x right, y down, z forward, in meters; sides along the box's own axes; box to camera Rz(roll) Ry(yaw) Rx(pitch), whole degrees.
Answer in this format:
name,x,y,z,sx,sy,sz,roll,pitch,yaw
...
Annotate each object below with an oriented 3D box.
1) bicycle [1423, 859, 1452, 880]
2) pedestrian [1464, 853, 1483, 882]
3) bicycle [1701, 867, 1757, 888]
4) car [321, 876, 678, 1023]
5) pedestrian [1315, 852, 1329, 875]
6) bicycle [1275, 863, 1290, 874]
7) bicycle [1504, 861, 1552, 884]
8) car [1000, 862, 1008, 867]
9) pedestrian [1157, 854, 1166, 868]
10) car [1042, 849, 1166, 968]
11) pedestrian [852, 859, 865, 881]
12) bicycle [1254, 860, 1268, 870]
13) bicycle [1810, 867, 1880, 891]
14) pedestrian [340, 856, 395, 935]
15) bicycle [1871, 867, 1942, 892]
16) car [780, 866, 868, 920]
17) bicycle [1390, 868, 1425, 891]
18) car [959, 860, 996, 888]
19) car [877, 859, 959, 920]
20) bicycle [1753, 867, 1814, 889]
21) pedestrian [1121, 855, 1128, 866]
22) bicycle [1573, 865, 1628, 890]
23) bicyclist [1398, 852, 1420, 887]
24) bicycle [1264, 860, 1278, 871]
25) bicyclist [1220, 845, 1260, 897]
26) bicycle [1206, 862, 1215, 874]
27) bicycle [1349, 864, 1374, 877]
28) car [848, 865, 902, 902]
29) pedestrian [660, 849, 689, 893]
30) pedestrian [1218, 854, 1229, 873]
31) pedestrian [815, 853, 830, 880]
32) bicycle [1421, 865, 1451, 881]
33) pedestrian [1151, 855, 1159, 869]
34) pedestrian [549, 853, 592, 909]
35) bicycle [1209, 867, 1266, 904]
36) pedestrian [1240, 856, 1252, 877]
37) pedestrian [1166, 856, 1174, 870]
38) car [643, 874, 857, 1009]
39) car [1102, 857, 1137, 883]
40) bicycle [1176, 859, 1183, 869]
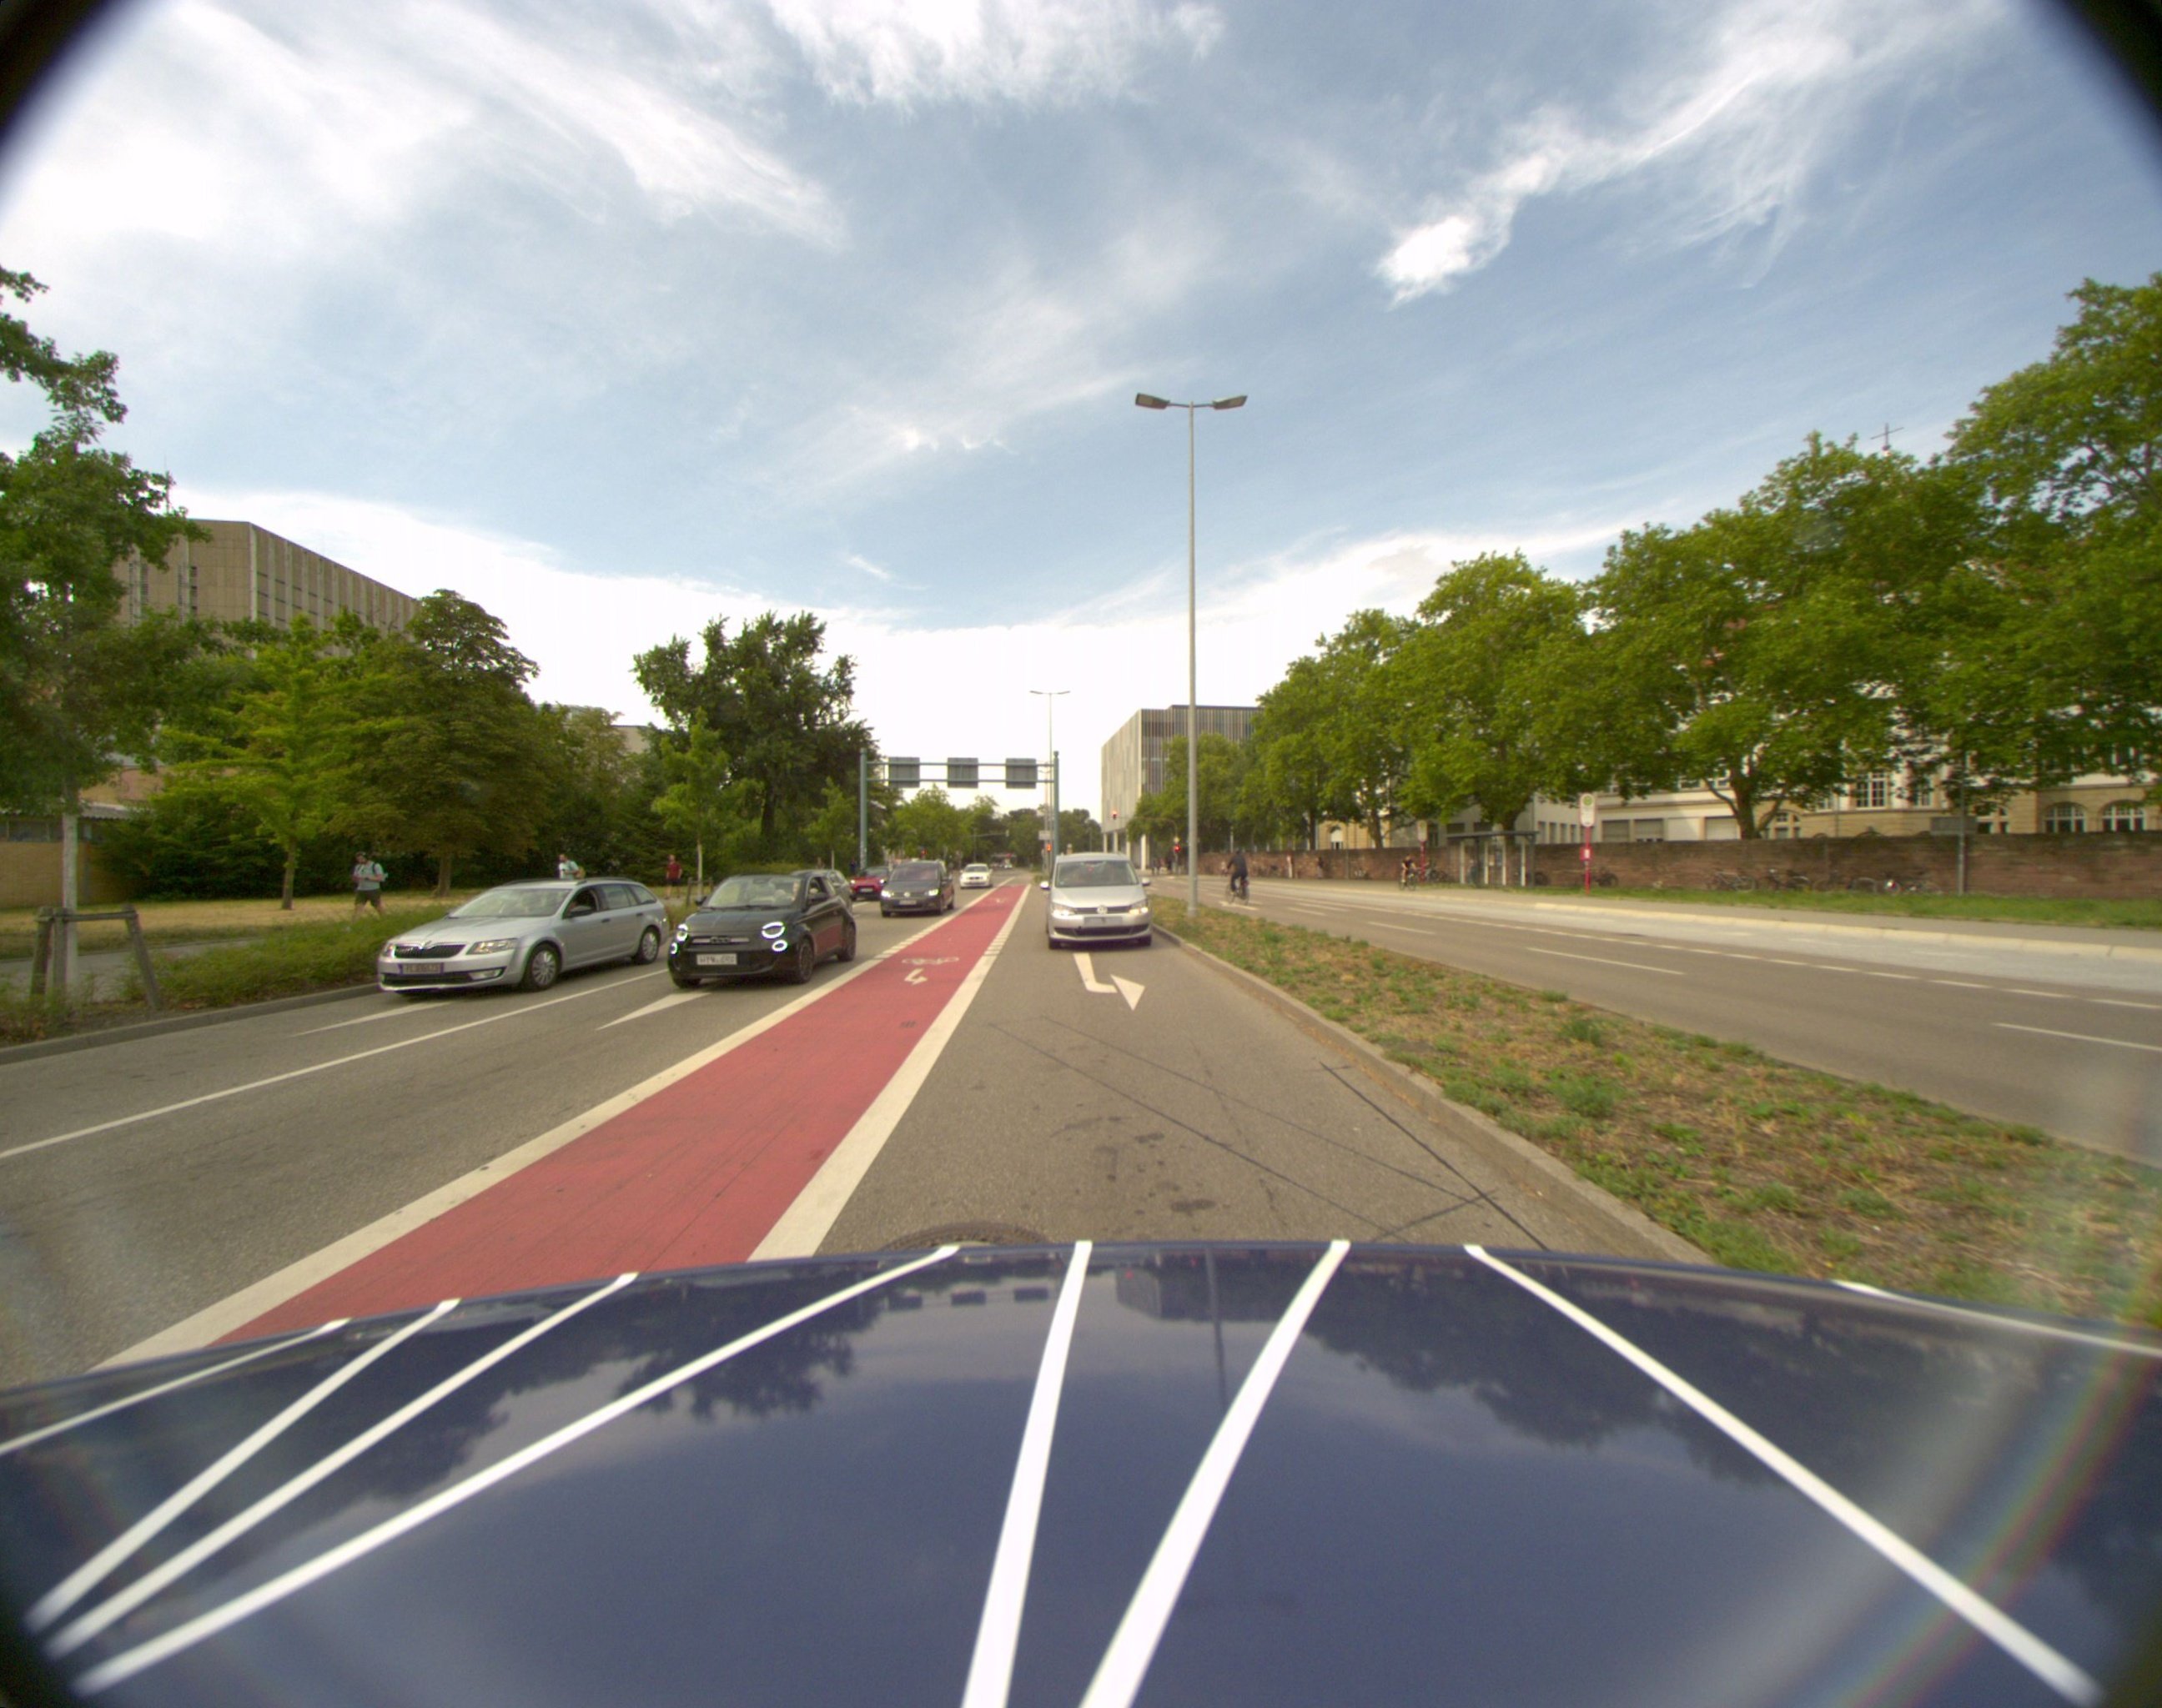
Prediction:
name,x,y,z,sx,sy,sz,roll,pitch,yaw
bicycle,20.882,0.928,44.488,2.103,1.182,0.756,3,-1,-42
pedestrian,22.454,0.790,43.449,0.569,1.612,0.753,-3,1,-25
bicycle,27.694,0.977,32.480,0.359,0.859,1.819,2,-1,-26
car,-7.914,1.162,11.057,1.824,1.466,4.526,-2,1,-3
pedestrian,17.920,0.710,56.493,0.756,1.612,0.664,-3,1,-44
bicycle,16.498,1.187,62.151,0.433,0.882,1.574,-4,0,-14
bicycle,23.782,0.954,40.470,0.760,1.182,2.094,2,-1,-24
car,-24.931,3.298,244.973,1.998,1.565,4.000,-2,1,1
pedestrian,9.347,0.849,88.181,0.755,1.612,0.665,-2,1,-9
car,0.428,0.817,13.781,1.824,1.724,4.528,-2,1,2
pedestrian,-17.228,1.250,58.859,0.714,1.701,0.695,-2,1,-3
bicycle,15.594,0.953,65.873,0.433,0.882,1.574,-4,0,-14
bicycle,29.188,0.953,29.074,0.359,0.859,1.887,2,-1,-22
pedestrian,-15.584,0.894,16.611,0.544,1.686,0.694,1,1,-6
bicycle,30.244,0.924,27.859,0.359,0.859,1.705,2,-1,-29
car,-8.297,1.213,24.845,1.671,1.481,3.874,-2,1,-3
bicycle,15.095,1.158,35.160,0.506,0.930,1.969,-1,2,-9
car,-6.111,1.164,45.087,1.759,1.450,4.222,-2,1,-3
car,-5.070,1.028,24.204,1.759,1.641,4.684,-2,1,-3
bicycle,28.471,0.964,30.810,0.359,0.859,1.806,2,-1,-23
pedestrian,6.433,1.013,112.314,0.755,1.612,0.665,-2,1,-9
bicycle,25.239,1.130,36.936,0.760,1.182,2.094,2,-1,-24
bicyclist,15.093,0.704,34.997,0.580,1.547,0.797,-1,2,-10
bicycle,16.091,0.948,64.398,0.433,0.882,1.574,-4,0,-14
bicyclist,5.312,0.564,25.485,0.779,1.700,1.083,2,-1,-25
bicycle,13.204,1.392,77.451,0.513,1.202,1.395,-2,1,-3
bicycle,19.286,1.132,52.291,0.662,0.882,1.573,-4,1,-22
car,-9.094,1.268,33.832,1.671,1.407,3.455,-2,1,-5
pedestrian,-16.035,0.664,29.990,0.714,1.701,0.695,-2,1,-3
pedestrian,12.551,0.862,66.915,0.755,1.612,0.665,-2,1,-9
pedestrian,-16.866,0.825,49.553,0.714,1.701,0.695,-2,1,-3
bicycle,21.506,1.153,46.051,0.662,0.882,1.573,-4,1,-22
pedestrian,8.593,0.909,87.891,0.755,1.612,0.665,-2,1,-9
pedestrian,-15.994,0.844,23.822,0.842,1.701,0.694,-2,1,-6
bicycle,5.246,1.038,25.612,0.760,1.182,2.094,2,-1,-24
pedestrian,13.075,0.992,60.201,0.755,1.612,0.665,-2,1,-9
pedestrian,10.429,1.042,88.702,0.755,1.612,0.665,-2,1,-9
car,-4.504,1.101,10.915,1.671,1.481,3.440,-1,1,-3
car,2.394,0.952,48.104,1.789,1.481,4.128,2,0,-3
bicycle,11.546,1.161,88.741,0.513,1.202,1.395,-2,1,-3
